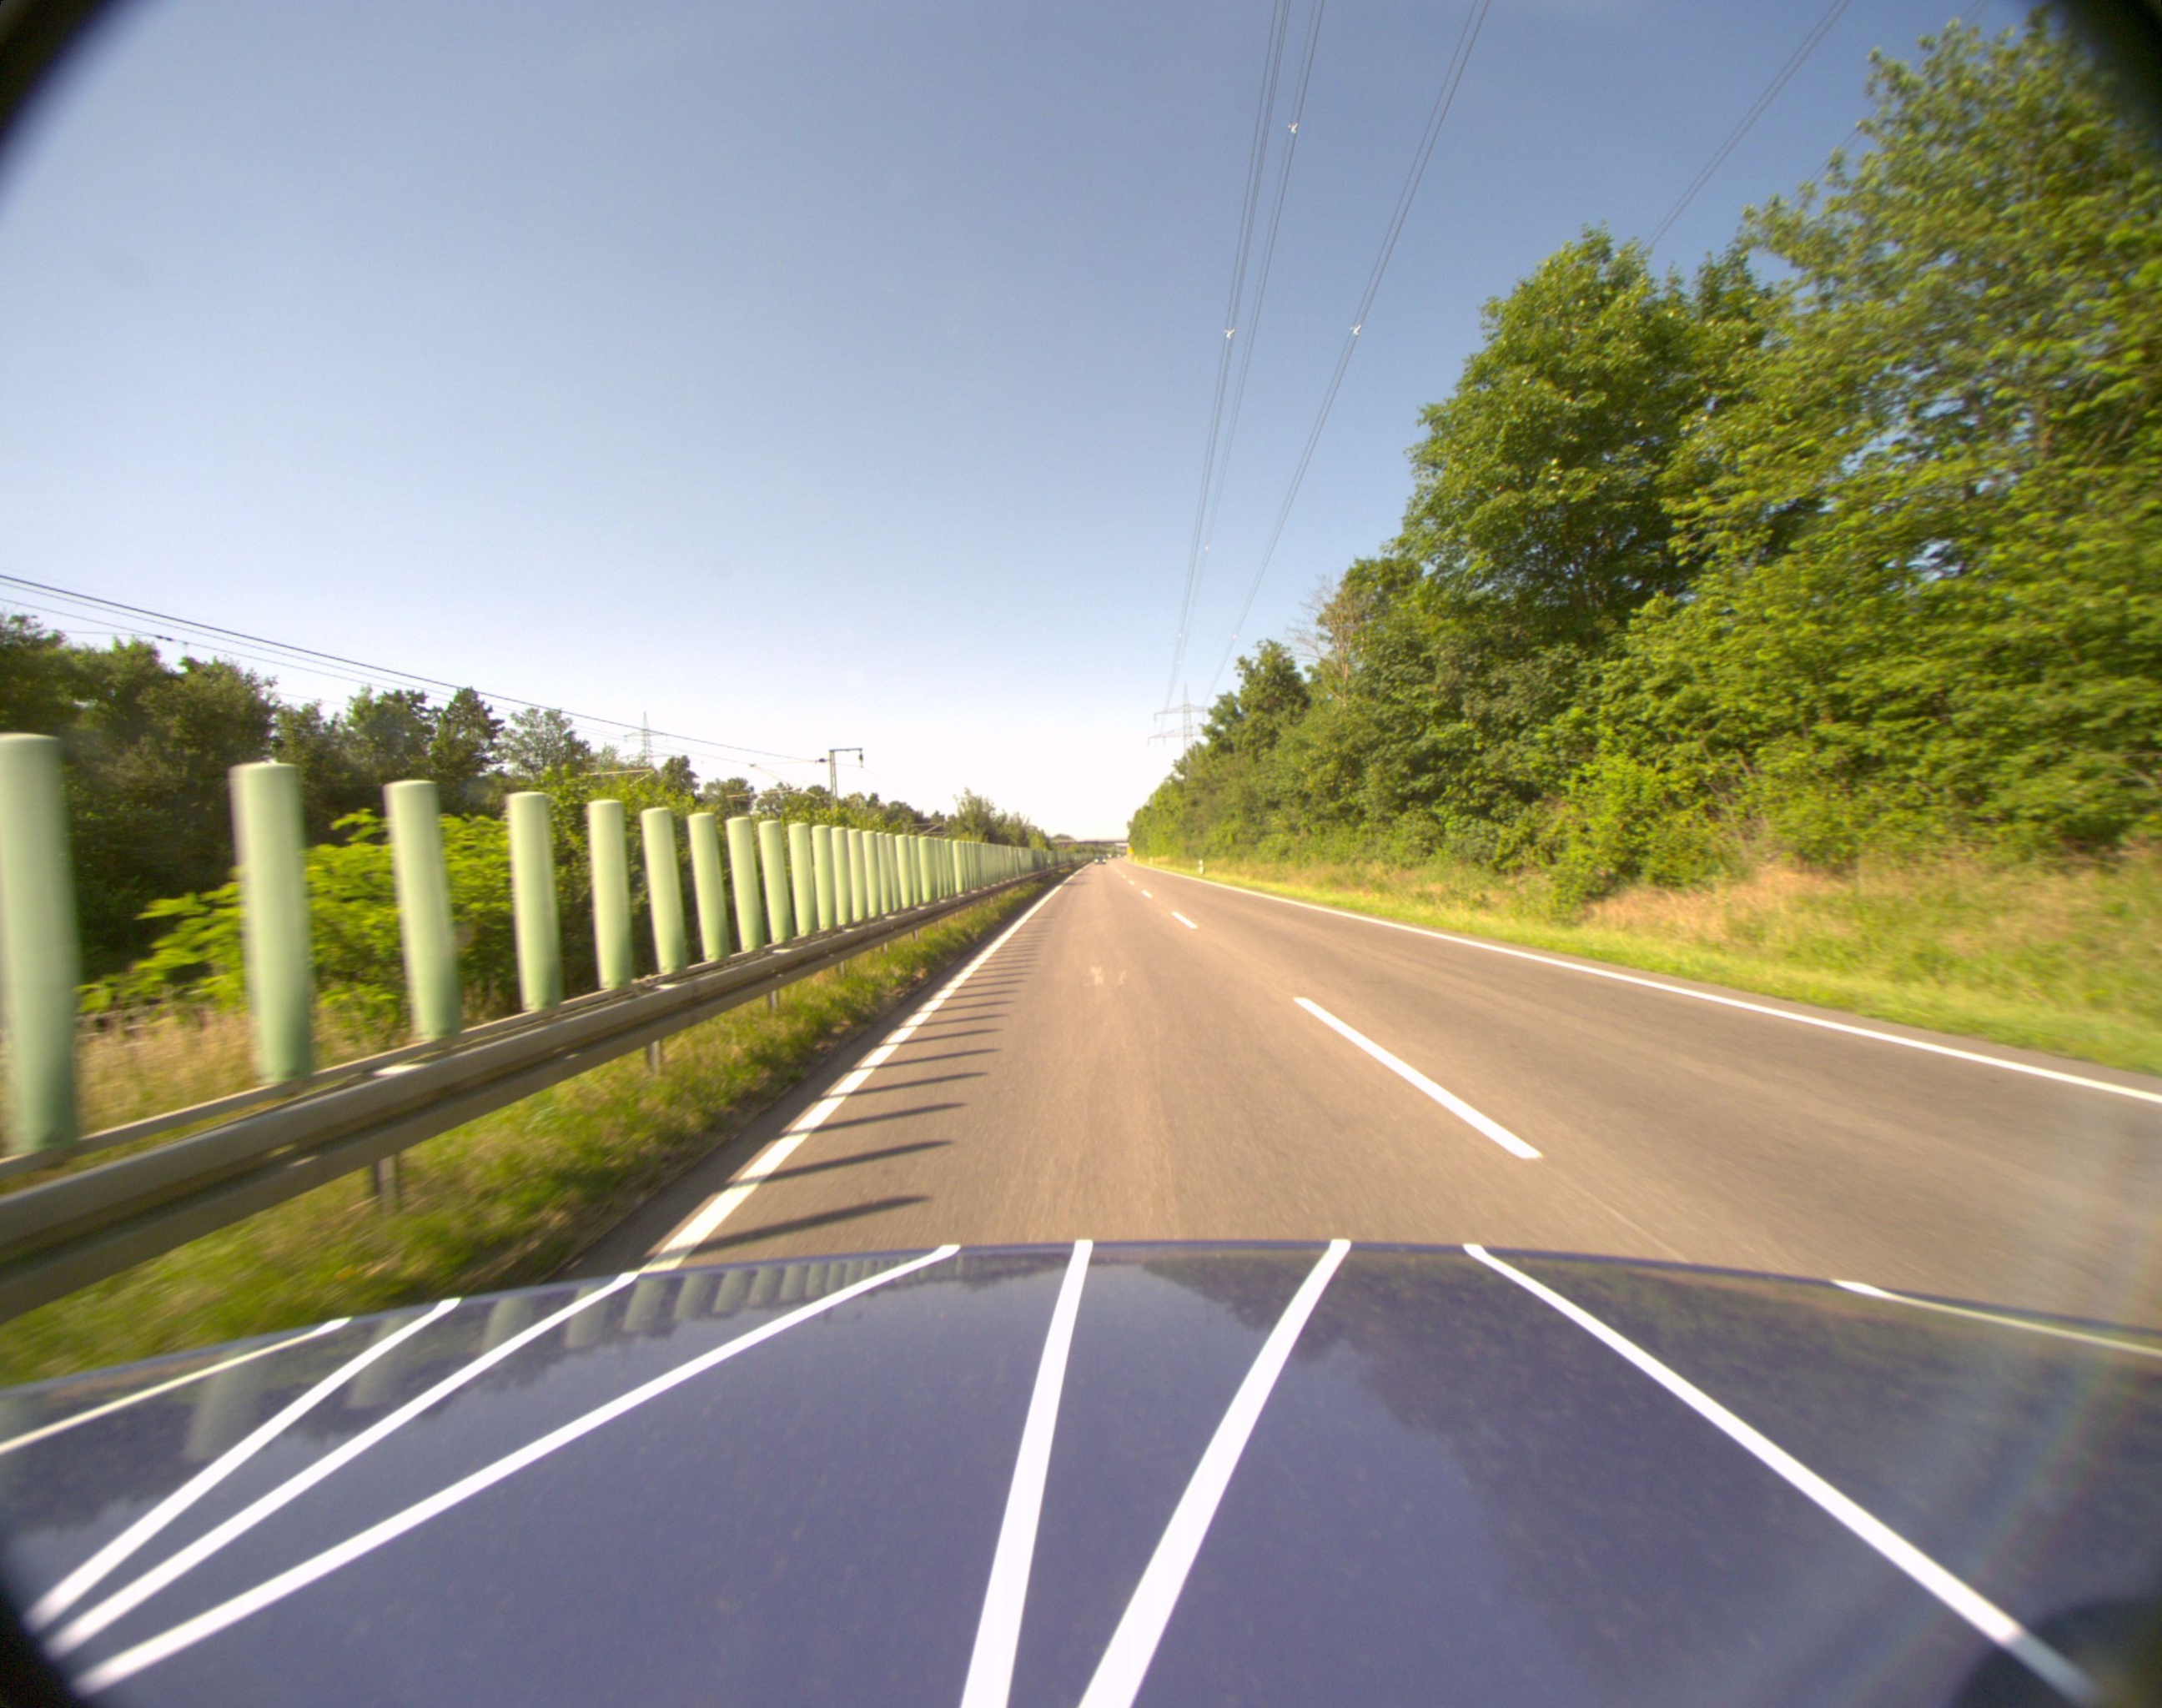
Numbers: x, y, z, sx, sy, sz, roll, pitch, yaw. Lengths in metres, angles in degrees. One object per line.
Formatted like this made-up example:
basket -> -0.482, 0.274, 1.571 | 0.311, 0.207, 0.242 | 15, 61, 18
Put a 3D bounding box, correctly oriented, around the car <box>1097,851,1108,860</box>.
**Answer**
car -> 3.608, 0.210, 128.153 | 1.787, 1.550, 4.000 | -1, 0, 2
